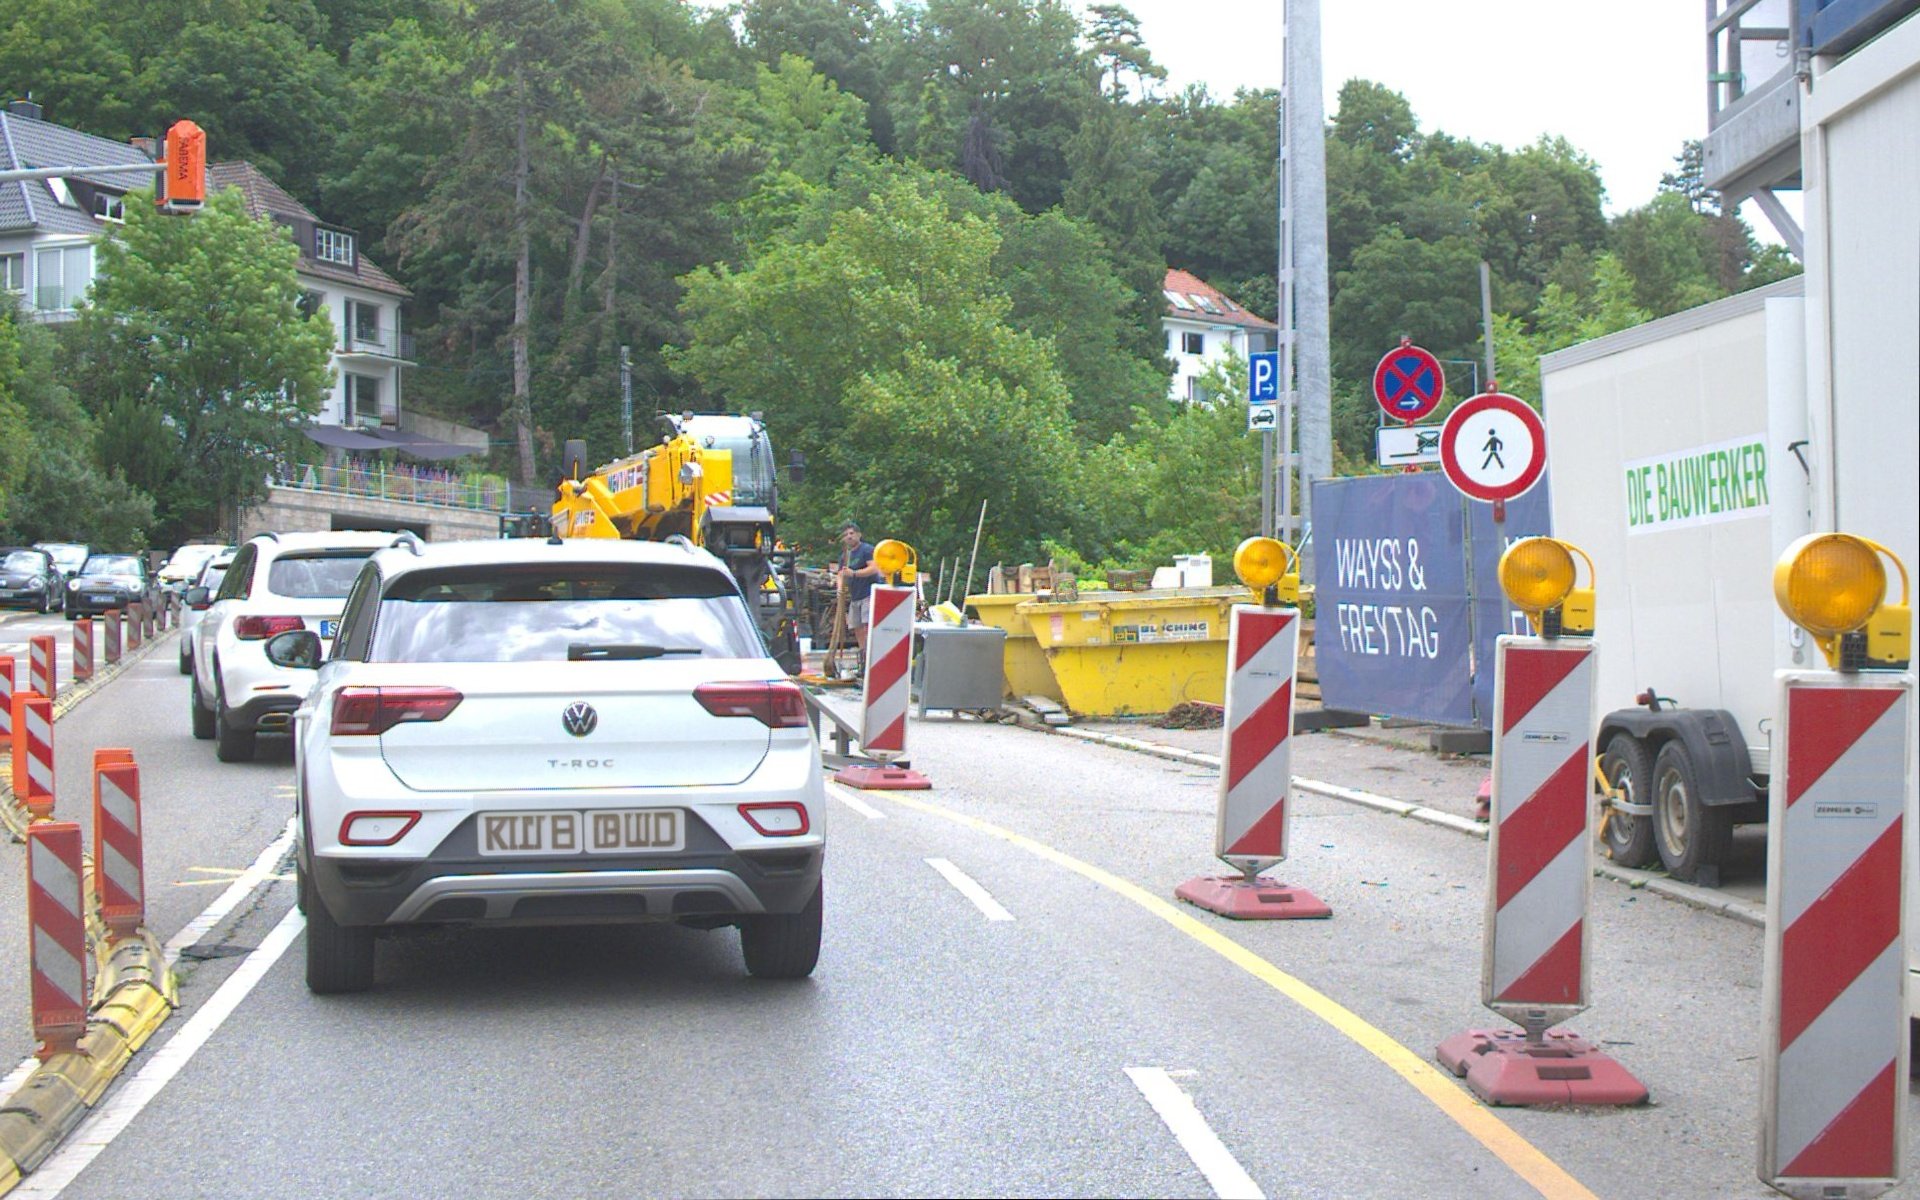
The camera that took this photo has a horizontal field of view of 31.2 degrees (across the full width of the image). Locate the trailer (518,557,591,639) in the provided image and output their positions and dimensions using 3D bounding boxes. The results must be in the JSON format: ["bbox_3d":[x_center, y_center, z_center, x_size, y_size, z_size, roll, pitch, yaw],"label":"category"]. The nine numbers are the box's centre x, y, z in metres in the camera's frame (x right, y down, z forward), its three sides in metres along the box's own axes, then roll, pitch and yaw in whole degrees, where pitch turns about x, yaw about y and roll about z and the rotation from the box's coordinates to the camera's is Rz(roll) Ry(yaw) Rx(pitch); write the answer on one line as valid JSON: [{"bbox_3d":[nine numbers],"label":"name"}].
[{"bbox_3d":[-7.598,-0.060,64.596,1.288,1.470,3.634,1,1,-6],"label":"trailer"}]

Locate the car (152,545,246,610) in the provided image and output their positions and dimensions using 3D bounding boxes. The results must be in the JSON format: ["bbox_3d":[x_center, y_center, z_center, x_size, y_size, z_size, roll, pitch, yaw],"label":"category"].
[{"bbox_3d":[-19.388,-0.587,87.740,1.841,1.594,4.264,0,1,-6],"label":"car"}]

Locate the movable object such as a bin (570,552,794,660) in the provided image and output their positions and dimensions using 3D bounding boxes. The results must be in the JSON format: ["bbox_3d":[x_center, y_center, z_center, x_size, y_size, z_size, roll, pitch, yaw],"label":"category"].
[{"bbox_3d":[-4.448,0.042,53.731,2.373,1.556,7.101,1,1,-14],"label":"movable object such as a bin"}]

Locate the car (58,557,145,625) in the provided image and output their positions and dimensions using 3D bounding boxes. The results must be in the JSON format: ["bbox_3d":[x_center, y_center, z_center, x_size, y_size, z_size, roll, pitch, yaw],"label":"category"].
[{"bbox_3d":[-18.556,-0.219,74.390,1.671,1.425,3.588,-1,1,-12],"label":"car"}]

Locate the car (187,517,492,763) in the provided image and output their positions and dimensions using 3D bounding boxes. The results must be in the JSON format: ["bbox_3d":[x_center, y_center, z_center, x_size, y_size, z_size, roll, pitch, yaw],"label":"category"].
[{"bbox_3d":[-4.690,0.241,25.593,1.809,1.657,4.001,-1,1,-16],"label":"car"}]

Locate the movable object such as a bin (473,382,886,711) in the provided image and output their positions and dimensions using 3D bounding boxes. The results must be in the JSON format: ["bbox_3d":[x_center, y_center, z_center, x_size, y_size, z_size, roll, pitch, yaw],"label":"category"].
[{"bbox_3d":[-3.159,-0.557,36.198,2.810,3.060,7.826,1,1,-16],"label":"movable object such as a bin"}]

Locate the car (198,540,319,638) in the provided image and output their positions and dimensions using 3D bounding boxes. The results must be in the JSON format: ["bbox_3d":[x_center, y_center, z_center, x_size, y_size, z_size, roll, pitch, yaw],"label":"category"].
[{"bbox_3d":[-11.393,-0.202,55.694,1.794,1.505,4.001,-1,1,-13],"label":"car"}]

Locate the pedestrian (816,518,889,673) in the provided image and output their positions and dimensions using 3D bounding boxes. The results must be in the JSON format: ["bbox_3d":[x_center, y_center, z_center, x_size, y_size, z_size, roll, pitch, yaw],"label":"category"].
[{"bbox_3d":[-1.258,-0.060,40.248,0.689,1.788,0.540,0,1,-24],"label":"pedestrian"}]

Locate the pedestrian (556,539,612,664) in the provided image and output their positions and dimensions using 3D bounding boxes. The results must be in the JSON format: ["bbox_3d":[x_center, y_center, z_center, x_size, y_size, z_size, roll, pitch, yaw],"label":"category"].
[{"bbox_3d":[-5.208,0.010,47.541,0.645,1.696,0.850,1,1,-12],"label":"pedestrian"}]

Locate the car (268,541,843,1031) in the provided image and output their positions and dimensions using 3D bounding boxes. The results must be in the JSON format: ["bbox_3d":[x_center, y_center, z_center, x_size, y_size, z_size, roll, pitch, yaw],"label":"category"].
[{"bbox_3d":[-1.636,0.558,12.999,1.809,1.526,4.001,-1,1,-10],"label":"car"}]

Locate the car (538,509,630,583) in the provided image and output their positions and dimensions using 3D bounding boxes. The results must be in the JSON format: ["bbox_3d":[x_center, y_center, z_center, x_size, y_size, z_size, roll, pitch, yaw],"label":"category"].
[{"bbox_3d":[-7.957,-1.131,72.544,1.794,1.505,4.001,0,1,-8],"label":"car"}]

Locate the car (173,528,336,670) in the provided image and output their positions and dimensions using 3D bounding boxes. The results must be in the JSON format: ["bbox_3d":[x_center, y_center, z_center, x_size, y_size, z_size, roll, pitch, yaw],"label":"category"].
[{"bbox_3d":[-8.813,-0.041,42.764,1.809,1.657,4.001,-1,1,-14],"label":"car"}]

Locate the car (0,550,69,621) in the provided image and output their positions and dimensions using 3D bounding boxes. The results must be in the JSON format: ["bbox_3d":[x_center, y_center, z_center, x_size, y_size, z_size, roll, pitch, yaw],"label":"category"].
[{"bbox_3d":[-21.366,-0.358,77.635,1.794,1.505,4.001,3,0,-6],"label":"car"}]

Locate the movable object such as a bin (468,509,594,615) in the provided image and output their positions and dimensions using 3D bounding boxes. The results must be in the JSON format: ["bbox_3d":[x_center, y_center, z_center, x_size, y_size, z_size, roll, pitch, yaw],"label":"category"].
[{"bbox_3d":[-11.086,-1.002,89.195,2.212,2.653,4.944,1,1,5],"label":"movable object such as a bin"}]

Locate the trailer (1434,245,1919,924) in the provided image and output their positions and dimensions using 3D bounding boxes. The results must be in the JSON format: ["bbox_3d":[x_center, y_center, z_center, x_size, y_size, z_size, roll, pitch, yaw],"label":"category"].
[{"bbox_3d":[3.924,-0.126,15.567,2.106,2.541,5.120,-2,1,-8],"label":"trailer"}]
